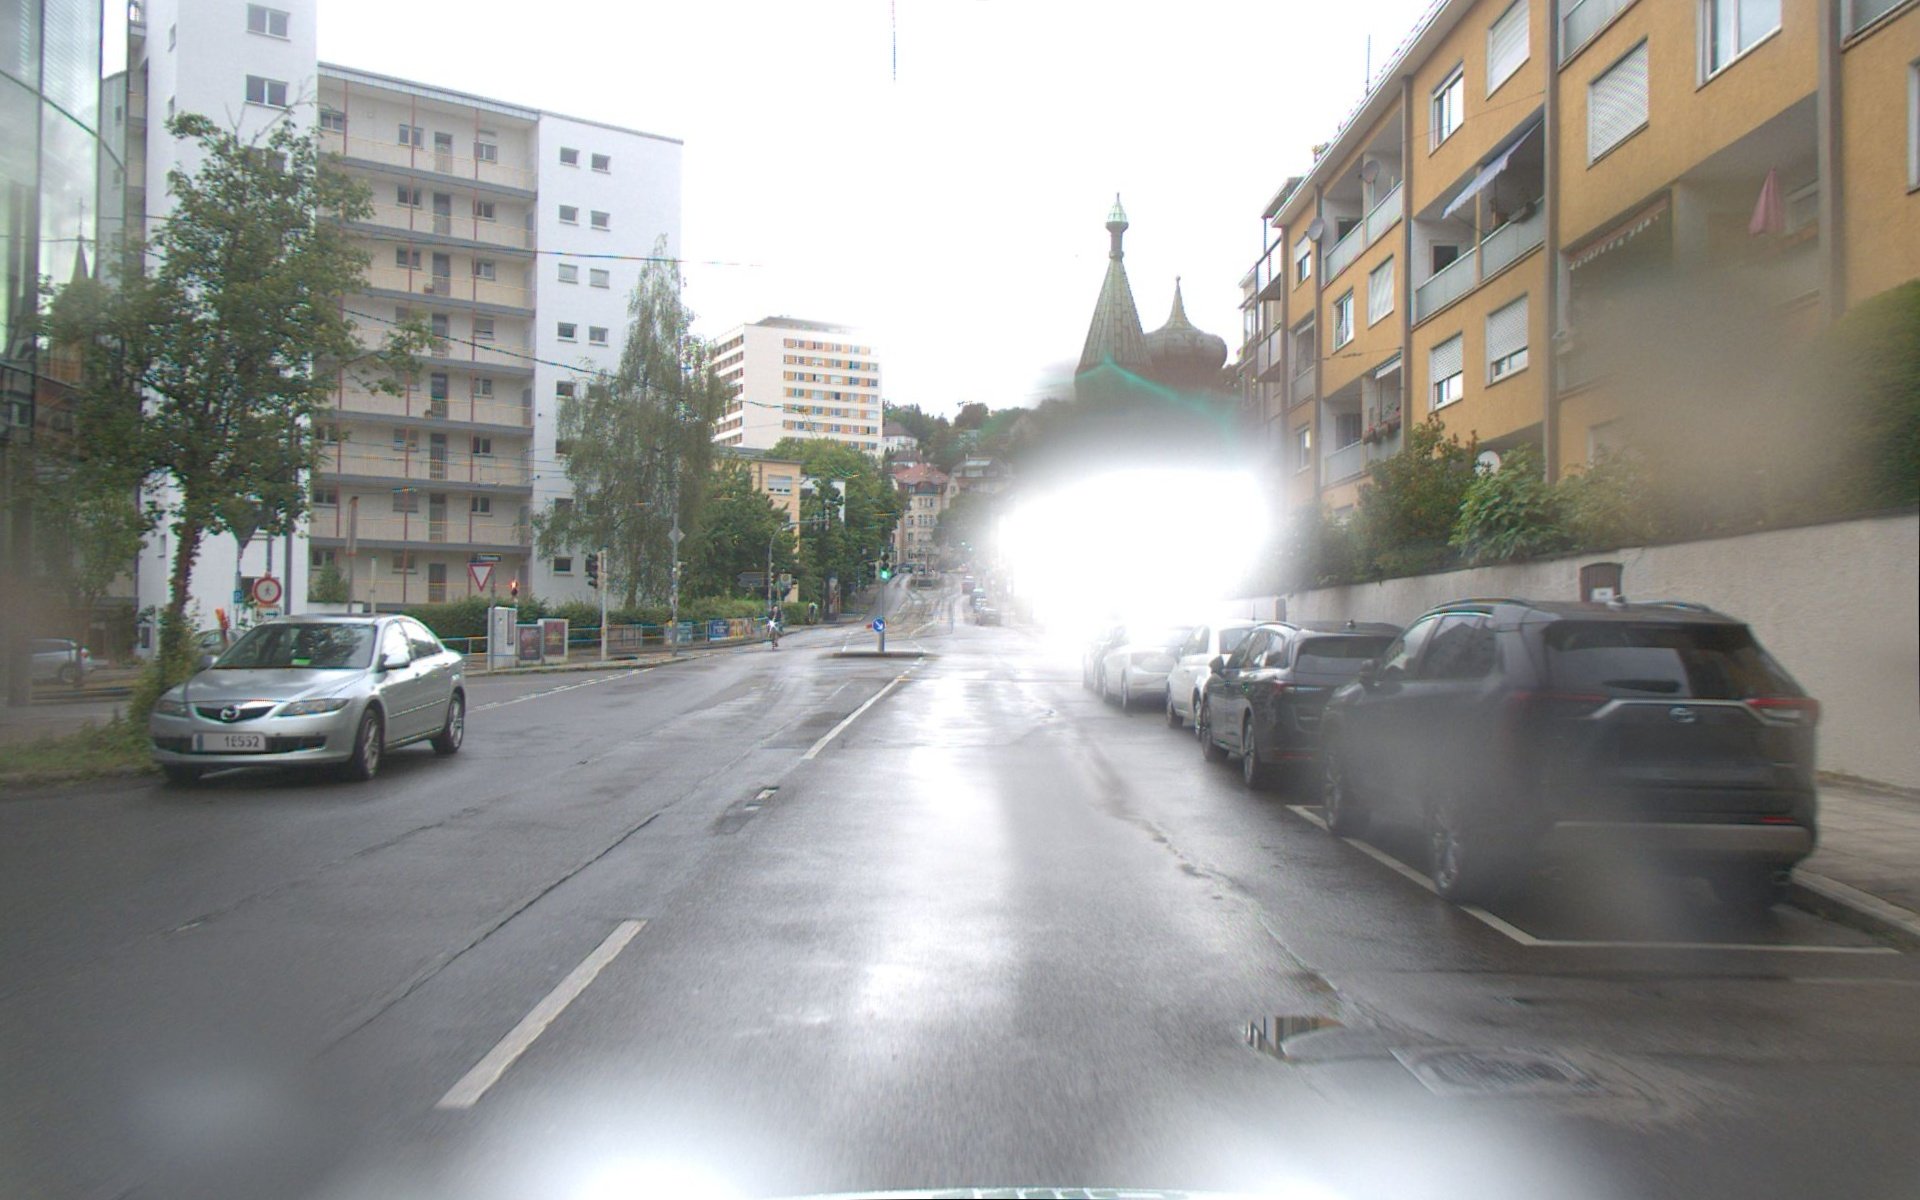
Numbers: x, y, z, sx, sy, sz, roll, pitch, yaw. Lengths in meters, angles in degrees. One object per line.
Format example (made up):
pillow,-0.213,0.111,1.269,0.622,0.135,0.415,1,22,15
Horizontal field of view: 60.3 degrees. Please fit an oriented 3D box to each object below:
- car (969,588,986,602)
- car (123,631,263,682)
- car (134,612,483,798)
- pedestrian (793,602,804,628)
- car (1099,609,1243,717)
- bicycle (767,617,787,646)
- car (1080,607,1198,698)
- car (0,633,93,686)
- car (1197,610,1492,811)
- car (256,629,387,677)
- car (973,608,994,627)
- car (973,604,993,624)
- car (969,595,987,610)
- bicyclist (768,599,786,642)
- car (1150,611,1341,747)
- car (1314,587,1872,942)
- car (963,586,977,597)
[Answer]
car,2.101,-0.568,197.505,1.869,1.536,3.999,2,0,-1
car,-25.598,1.850,55.228,3.961,1.536,1.775,0,1,-39
car,-5.903,0.862,15.569,1.675,1.476,4.293,0,0,-1
pedestrian,-12.208,1.145,125.064,0.870,1.926,0.921,0,0,-7
car,3.426,0.987,27.563,1.781,1.549,4.075,2,0,-1
bicycle,-7.231,1.248,65.357,0.663,1.127,1.799,0,0,-3
car,3.460,0.980,32.624,1.781,1.549,4.075,2,0,-1
car,-29.467,1.860,51.706,3.961,1.536,1.775,0,1,-39
car,3.481,0.927,15.753,1.781,1.549,4.075,2,0,-1
car,-22.465,1.828,58.249,3.961,1.536,1.775,0,1,-39
car,2.040,1.531,144.796,1.696,1.682,4.001,0,0,2
car,2.181,1.347,156.260,1.813,1.797,4.000,1,0,1
car,1.950,0.304,181.340,1.854,1.536,3.999,2,0,-1
bicyclist,-7.217,0.810,65.298,0.663,1.690,0.650,0,0,-4
car,3.736,0.980,22.308,1.781,1.549,4.075,2,0,-1
car,3.550,0.795,10.164,1.781,1.681,4.075,2,0,-1
car,1.374,-1.180,229.999,1.869,1.536,3.999,2,0,-1
